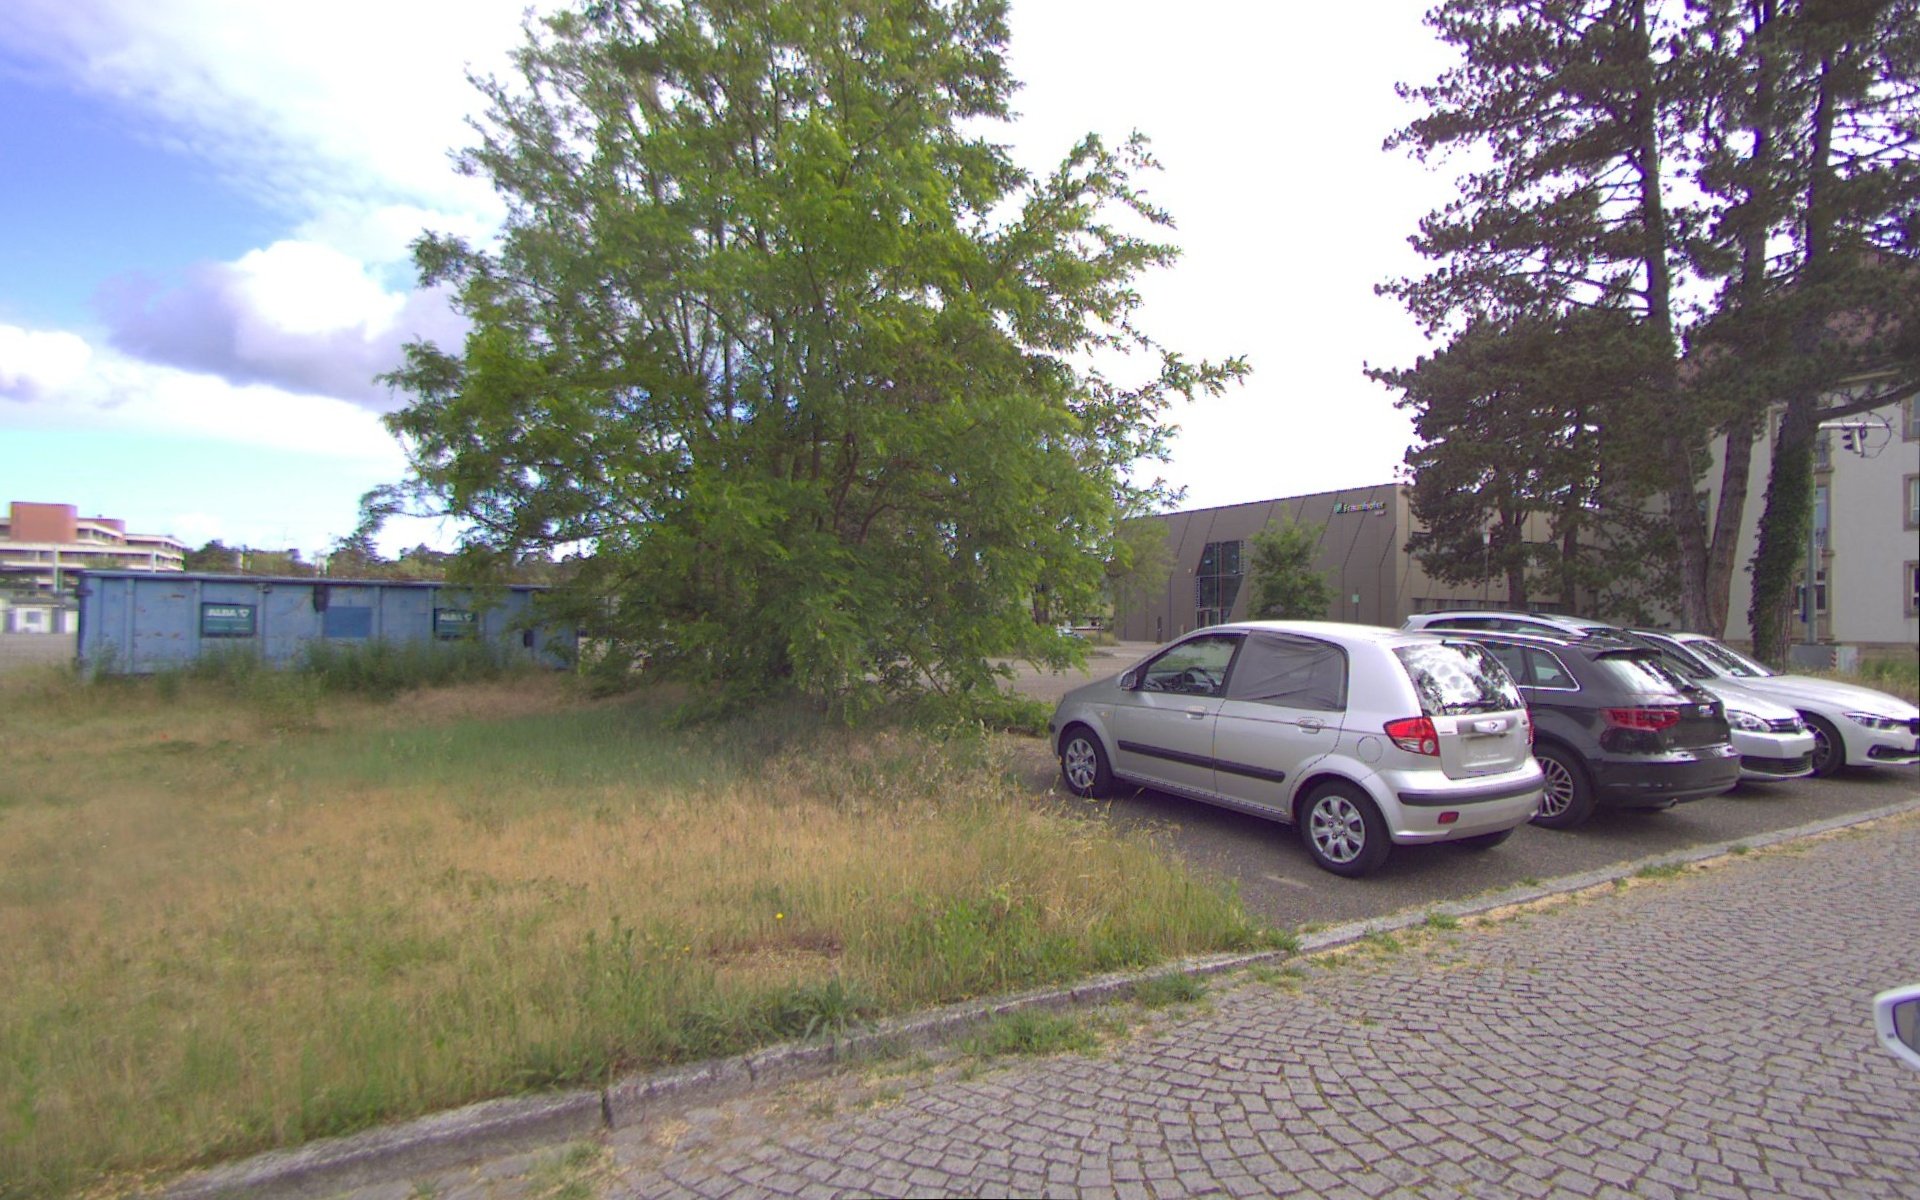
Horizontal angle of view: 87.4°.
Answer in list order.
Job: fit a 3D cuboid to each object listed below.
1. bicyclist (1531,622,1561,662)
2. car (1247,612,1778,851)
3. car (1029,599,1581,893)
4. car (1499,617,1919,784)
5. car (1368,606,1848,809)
[{"bbox_3d":[21.277,1.528,36.487,0.598,1.429,0.745,1,-1,-30],"label":"bicyclist"},{"bbox_3d":[4.499,0.915,8.724,1.565,1.448,3.723,1,1,-33],"label":"car"},{"bbox_3d":[2.257,0.812,7.475,1.565,1.499,3.681,1,1,-33],"label":"car"},{"bbox_3d":[8.761,1.018,11.864,1.631,1.440,3.927,1,1,-31],"label":"car"},{"bbox_3d":[6.574,0.936,10.640,1.632,1.584,3.924,1,1,-33],"label":"car"}]
